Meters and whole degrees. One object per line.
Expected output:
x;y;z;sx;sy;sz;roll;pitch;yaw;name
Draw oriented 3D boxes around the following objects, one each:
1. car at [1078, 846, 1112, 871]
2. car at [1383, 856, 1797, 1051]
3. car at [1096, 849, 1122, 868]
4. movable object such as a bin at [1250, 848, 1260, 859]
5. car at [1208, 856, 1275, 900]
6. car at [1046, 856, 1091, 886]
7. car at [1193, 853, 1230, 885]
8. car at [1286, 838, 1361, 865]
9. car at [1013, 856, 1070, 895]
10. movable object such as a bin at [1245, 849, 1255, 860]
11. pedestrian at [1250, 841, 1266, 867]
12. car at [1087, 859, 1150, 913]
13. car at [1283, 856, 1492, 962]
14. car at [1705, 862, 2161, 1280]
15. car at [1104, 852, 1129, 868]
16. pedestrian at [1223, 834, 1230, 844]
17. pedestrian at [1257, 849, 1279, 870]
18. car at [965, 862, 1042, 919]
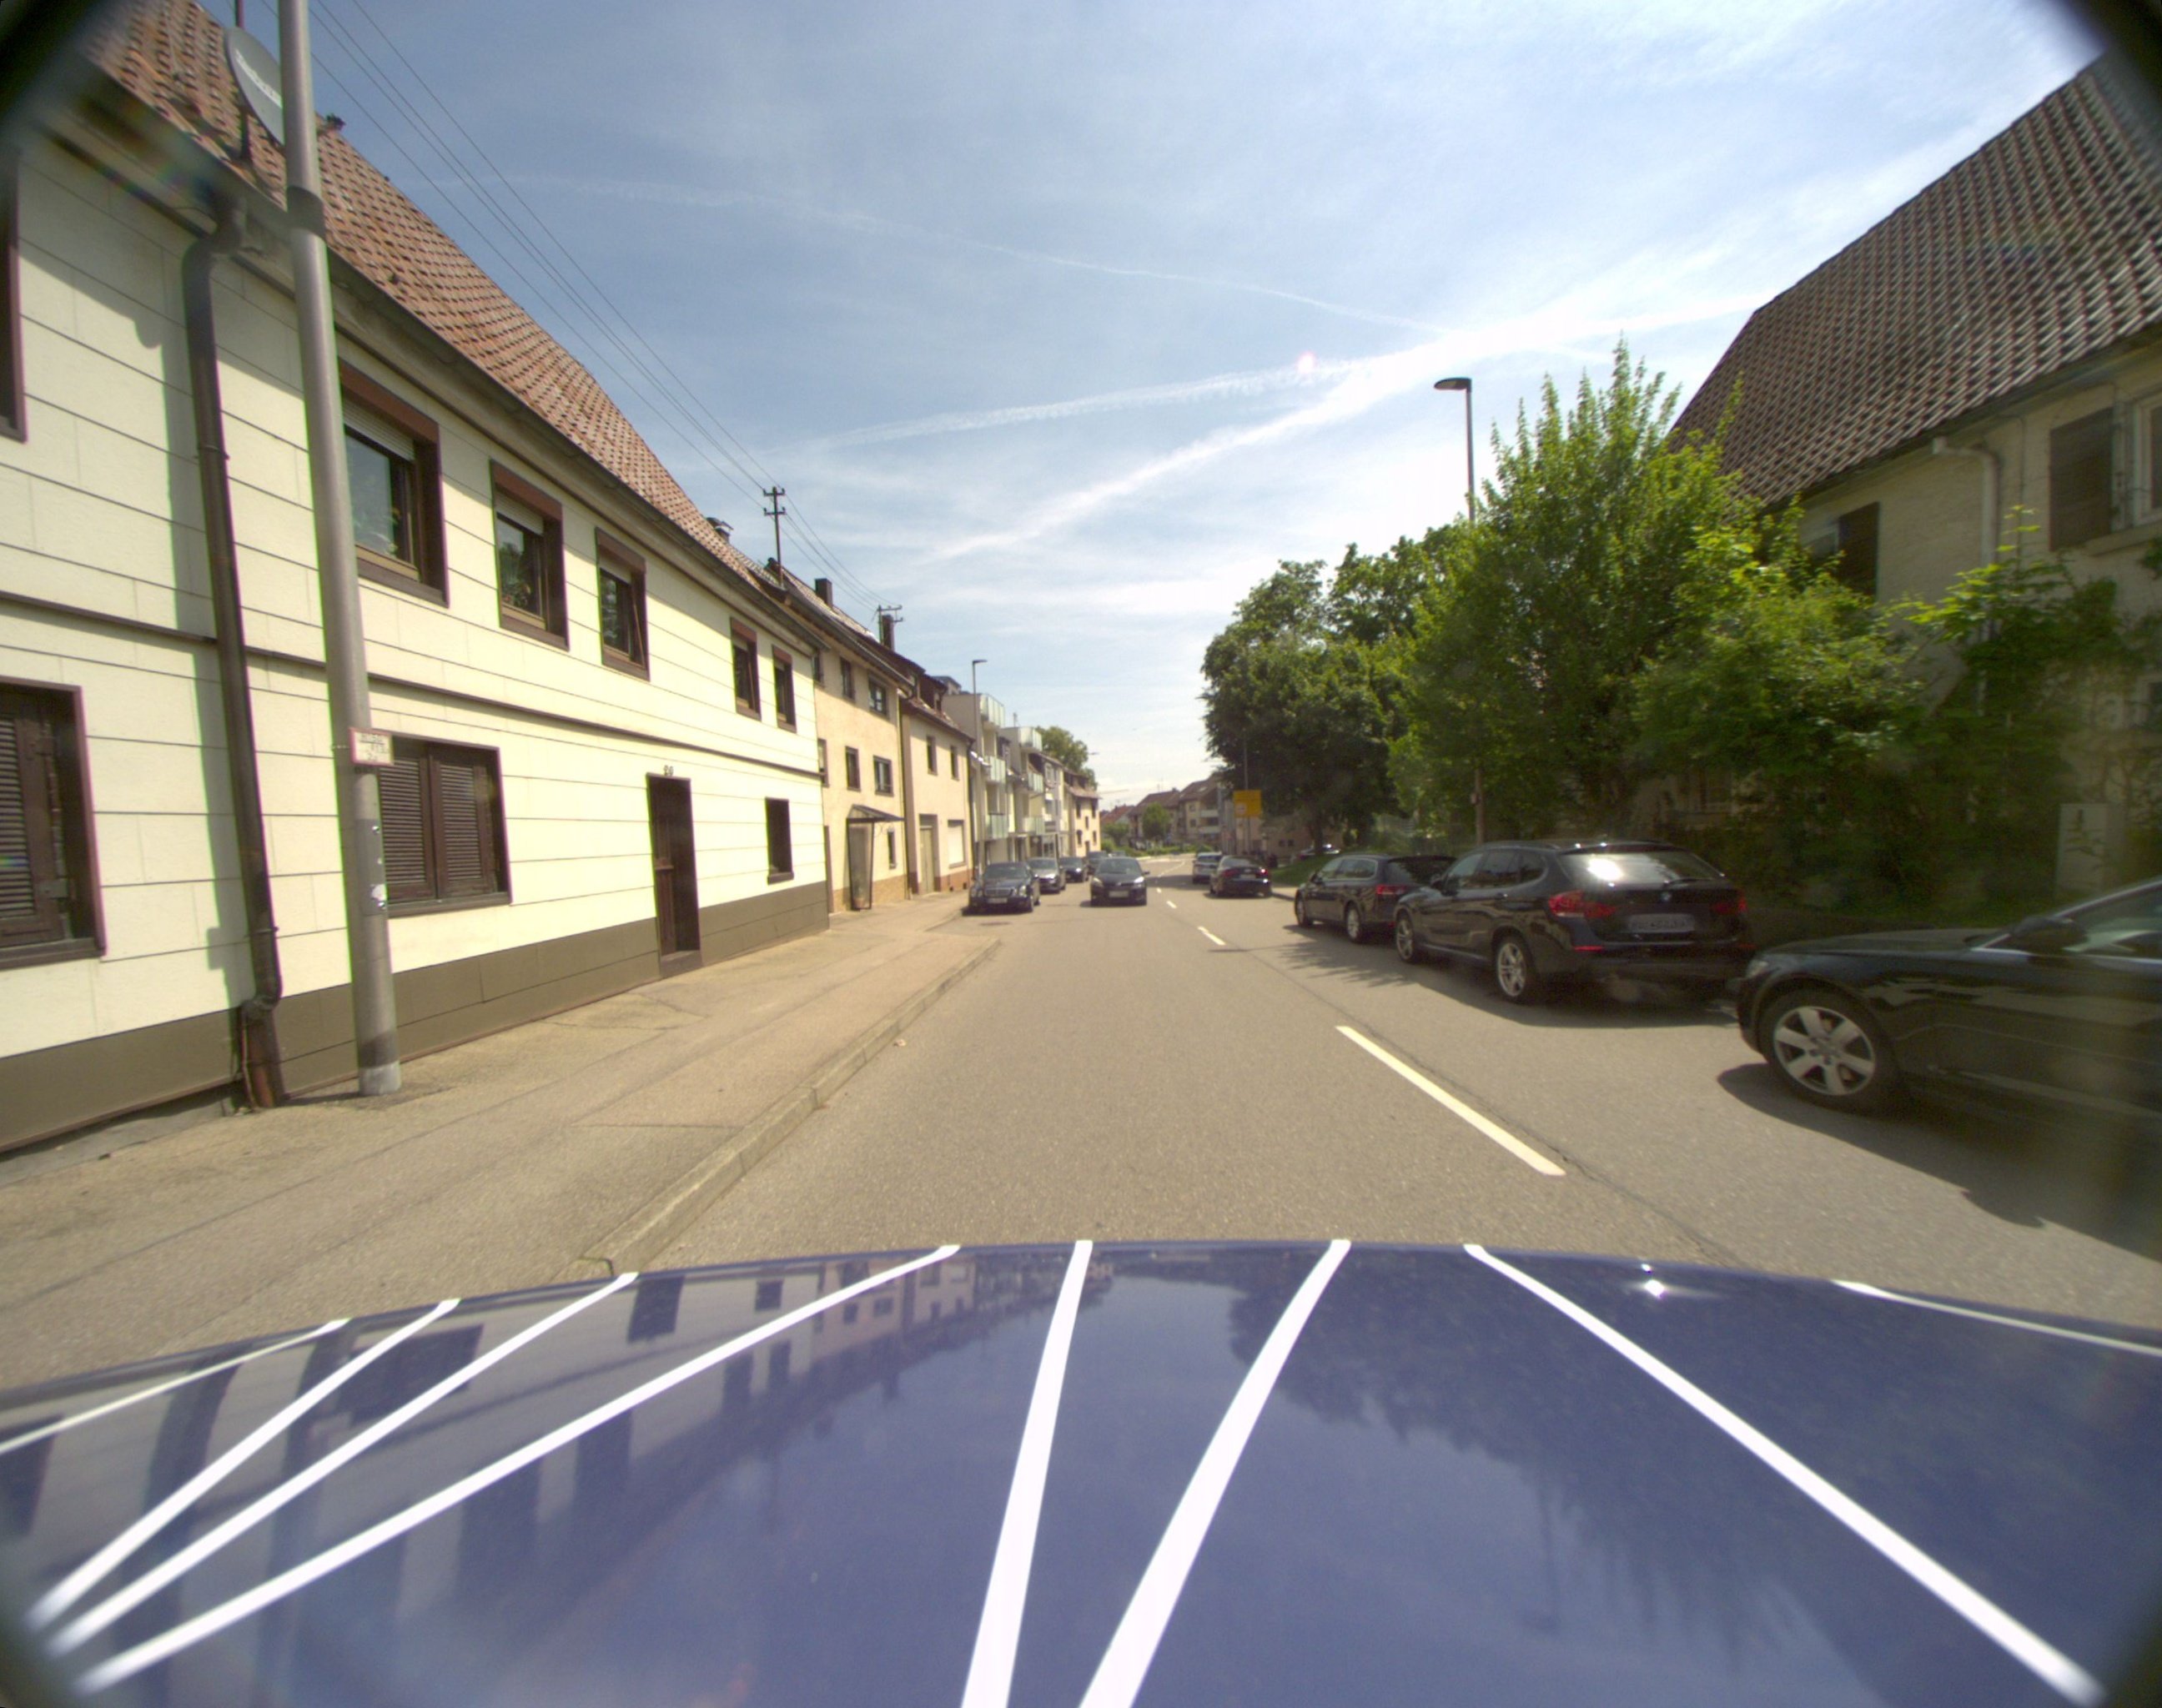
1.088;0.284;54.970;1.957;1.706;4.718;-2;0;6;car
4.895;0.805;8.198;1.759;1.512;4.301;-2;0;4;car
2.419;0.358;64.156;1.792;1.447;4.718;-2;0;6;car
16.216;-0.049;70.839;0.802;0.994;0.805;-4;1;11;movable object such as a bin
5.717;0.808;27.575;1.808;1.415;4.930;-1;0;5;car
-0.592;0.872;40.557;1.800;1.416;4.292;-1;1;7;car
6.663;0.718;38.924;1.775;1.518;4.224;0;1;9;car
17.911;-0.189;56.178;4.791;1.471;1.998;-6;2;-10;car
-1.541;0.833;31.138;1.798;1.394;4.412;-1;0;4;car
15.693;0.010;70.723;0.853;0.994;0.694;-2;1;11;movable object such as a bin
11.599;-0.006;49.778;0.732;1.607;0.628;-4;2;-11;pedestrian
1.123;0.910;23.689;1.725;1.448;4.430;-1;0;2;car
5.077;0.807;13.384;1.793;1.455;4.712;-1;0;1;car
4.852;0.805;2.382;1.824;1.465;4.775;-2;0;0;car
3.338;0.533;70.407;1.792;1.412;4.360;-2;0;9;car
21.188;-2.152;110.605;0.801;1.469;0.957;-3;1;4;pedestrian
11.850;0.331;48.141;1.238;1.262;0.647;-4;1;12;pedestrian
-2.109;0.972;21.800;1.670;1.345;4.187;-2;0;1;car
